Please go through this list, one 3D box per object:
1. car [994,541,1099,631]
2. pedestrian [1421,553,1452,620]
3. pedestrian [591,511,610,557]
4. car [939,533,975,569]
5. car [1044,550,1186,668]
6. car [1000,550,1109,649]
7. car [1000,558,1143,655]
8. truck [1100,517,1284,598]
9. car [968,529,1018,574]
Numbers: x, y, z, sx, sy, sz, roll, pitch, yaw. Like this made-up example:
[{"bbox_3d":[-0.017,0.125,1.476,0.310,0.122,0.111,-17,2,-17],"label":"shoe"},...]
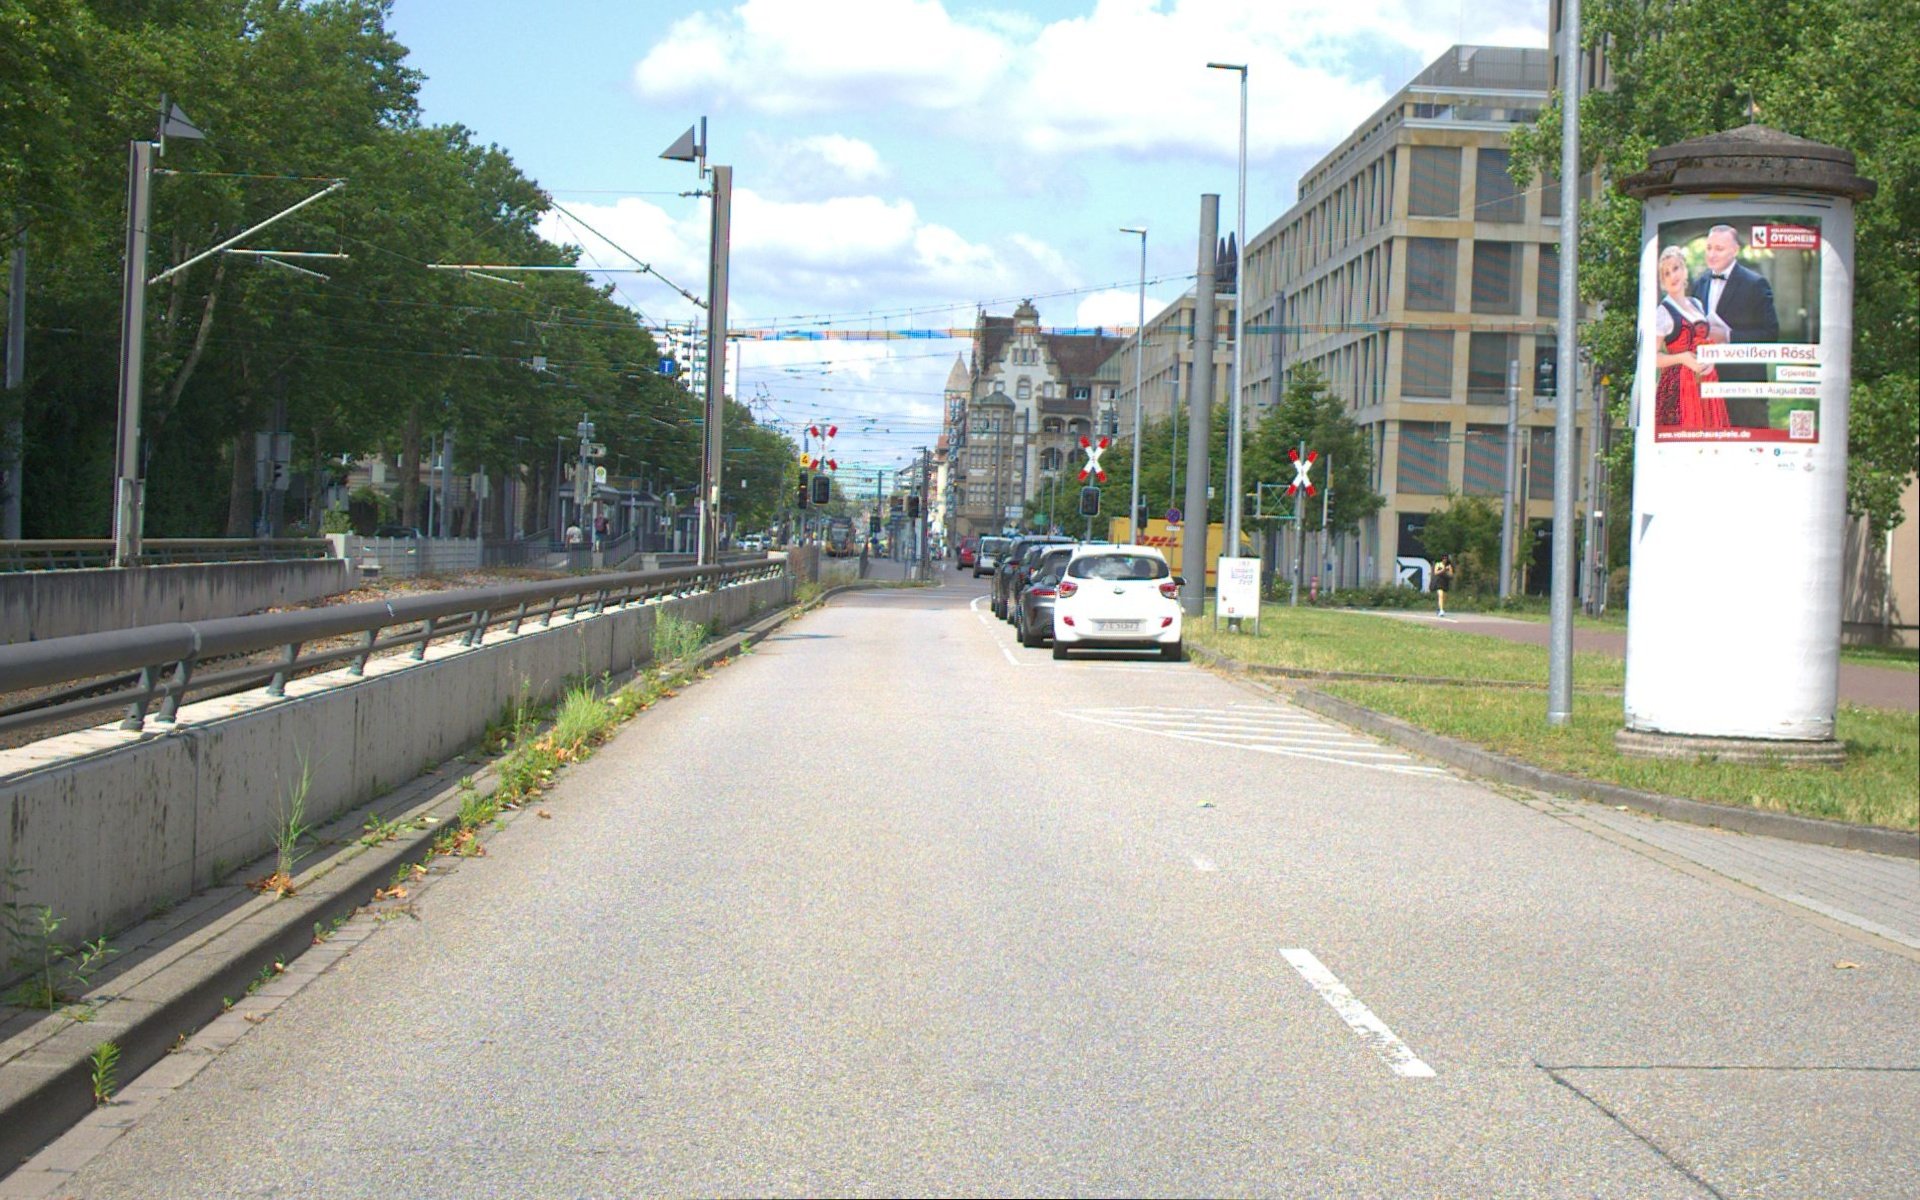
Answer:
[{"bbox_3d":[1.675,-0.310,67.954,1.816,1.656,4.671,1,1,-1],"label":"car"},{"bbox_3d":[11.549,-0.329,83.357,0.622,1.602,0.624,1,0,-4],"label":"pedestrian"},{"bbox_3d":[-14.411,-2.644,137.866,0.706,1.839,0.864,1,0,-2],"label":"pedestrian"},{"bbox_3d":[-0.180,-2.801,198.116,1.993,2.007,4.000,1,1,-1],"label":"car"},{"bbox_3d":[2.018,0.090,45.675,1.707,1.474,3.789,1,1,0],"label":"car"},{"bbox_3d":[1.504,-0.035,55.737,1.669,1.510,3.851,1,1,1],"label":"car"},{"bbox_3d":[1.599,0.071,50.658,1.824,1.307,4.443,1,1,-1],"label":"car"},{"bbox_3d":[9.062,-1.663,134.596,6.805,2.857,2.455,2,0,-3],"label":"truck"},{"bbox_3d":[1.375,-2.061,146.182,1.868,1.740,4.000,4,1,-2],"label":"car"}]
